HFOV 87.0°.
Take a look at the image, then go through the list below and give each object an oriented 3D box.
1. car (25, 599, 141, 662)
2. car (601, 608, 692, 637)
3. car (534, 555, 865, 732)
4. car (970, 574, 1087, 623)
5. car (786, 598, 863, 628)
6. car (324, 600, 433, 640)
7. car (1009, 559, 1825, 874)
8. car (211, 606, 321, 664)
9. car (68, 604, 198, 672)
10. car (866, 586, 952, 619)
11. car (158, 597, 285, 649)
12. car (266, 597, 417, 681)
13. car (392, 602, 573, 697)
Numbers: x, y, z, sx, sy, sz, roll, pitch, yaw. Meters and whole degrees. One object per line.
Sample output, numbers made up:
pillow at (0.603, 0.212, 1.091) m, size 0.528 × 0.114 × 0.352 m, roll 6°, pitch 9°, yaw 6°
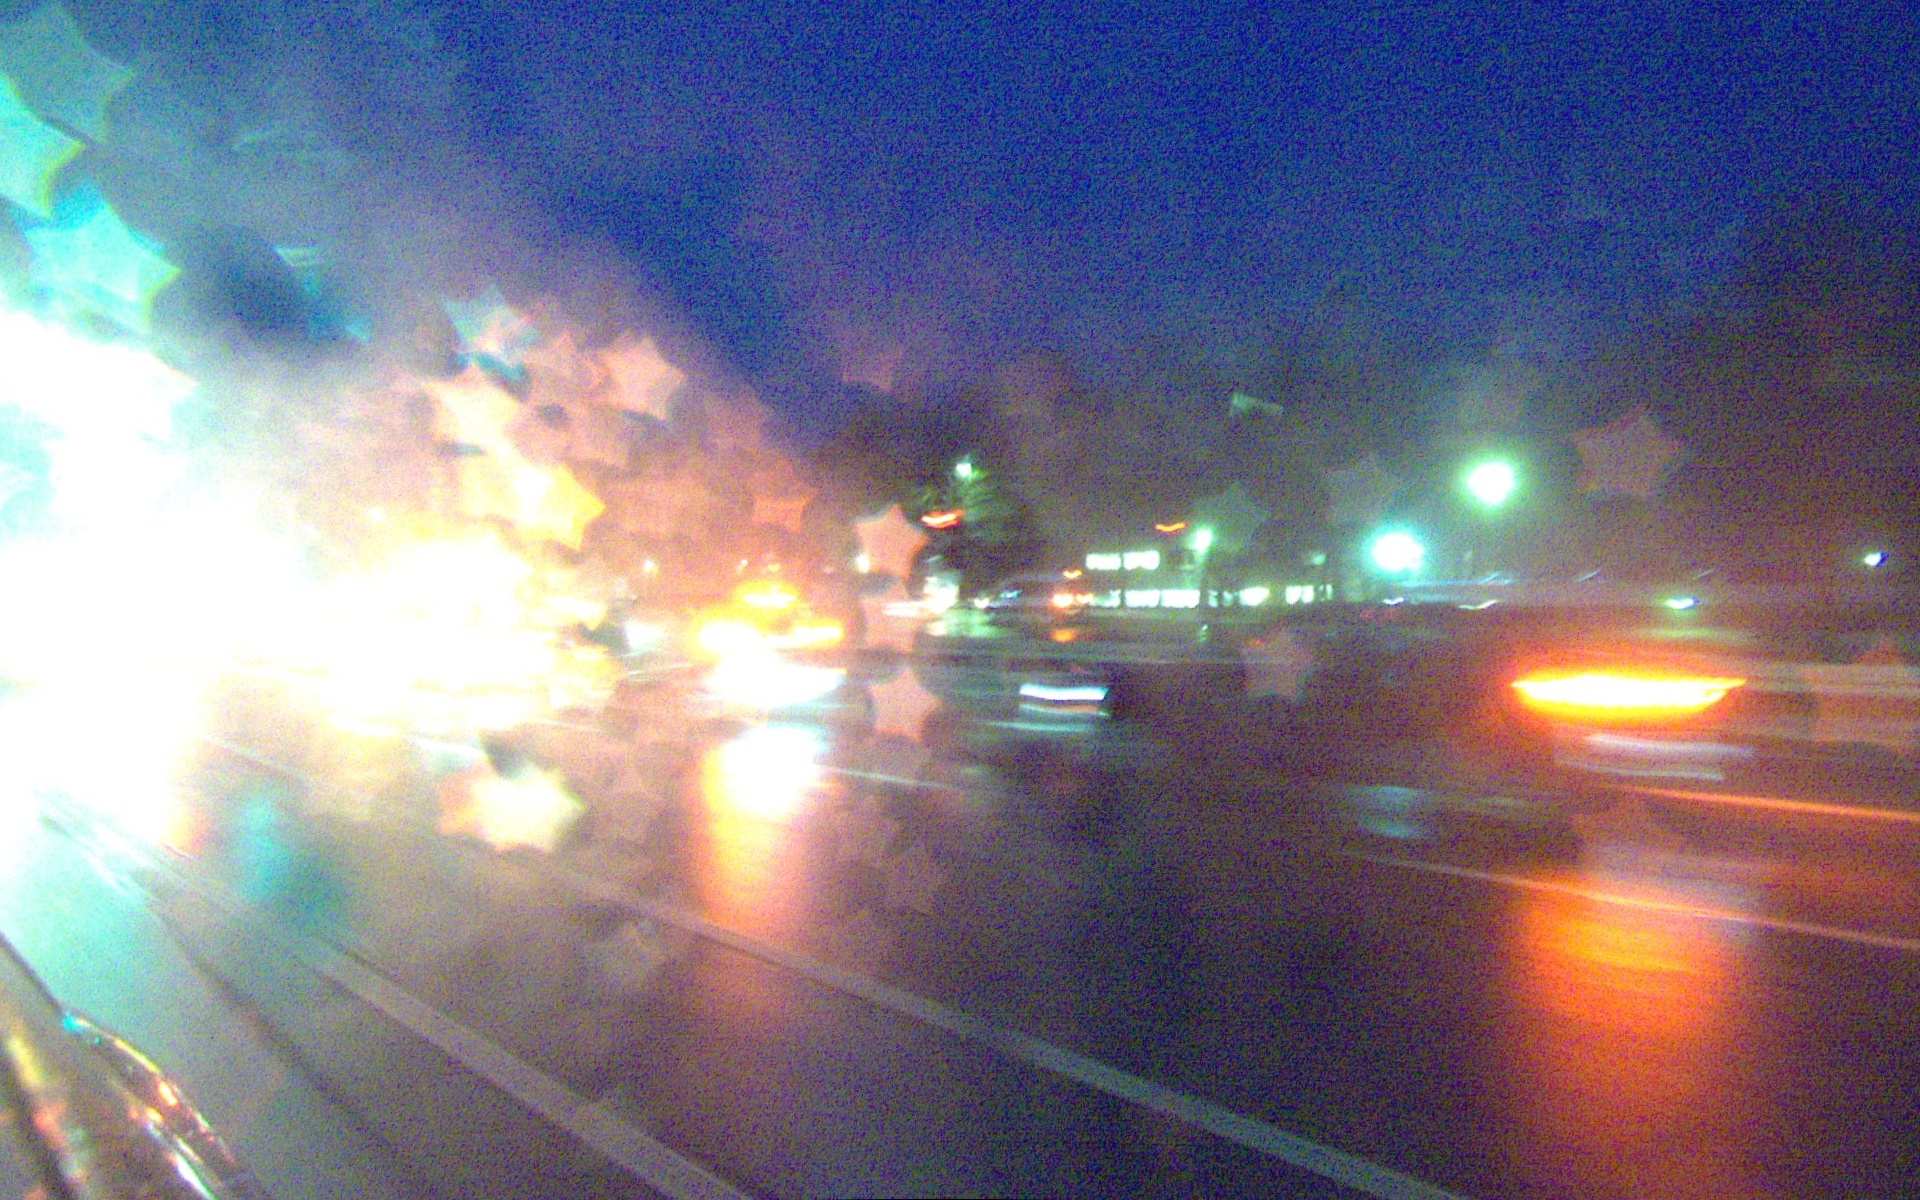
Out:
car at (-26.459, 0.846, 30.462) m, size 5.010 × 1.711 × 1.973 m, roll 0°, pitch 1°, yaw 41°
car at (-16.331, 1.164, 52.896) m, size 4.429 × 1.375 × 1.671 m, roll -1°, pitch 1°, yaw -13°
car at (-3.791, 0.507, 14.126) m, size 4.996 × 2.029 × 2.130 m, roll -1°, pitch 0°, yaw 43°
car at (3.378, -0.049, 51.254) m, size 6.022 × 2.325 × 1.972 m, roll -1°, pitch 0°, yaw 44°
car at (-7.767, 0.743, 58.120) m, size 3.960 × 1.603 × 1.992 m, roll -1°, pitch 0°, yaw 13°
car at (-27.894, 0.931, 48.632) m, size 4.447 × 1.858 × 2.006 m, roll 0°, pitch -1°, yaw -31°
car at (3.032, 0.603, 7.656) m, size 5.206 × 1.570 × 2.157 m, roll -1°, pitch 0°, yaw 45°
car at (-19.621, 0.932, 28.568) m, size 3.601 × 1.463 × 1.803 m, roll 0°, pitch 1°, yaw 43°
car at (-21.768, 0.921, 26.579) m, size 4.465 × 1.582 × 1.936 m, roll 0°, pitch 1°, yaw 41°
car at (-2.805, 0.136, 55.996) m, size 4.425 × 1.706 × 1.835 m, roll -1°, pitch 0°, yaw 27°
car at (-24.466, 0.726, 33.455) m, size 5.157 × 1.568 × 2.334 m, roll -1°, pitch 0°, yaw 42°
car at (-14.685, 0.850, 23.923) m, size 4.500 × 1.759 × 1.971 m, roll -1°, pitch 0°, yaw 44°
car at (-8.904, 0.837, 18.749) m, size 1.943 × 1.540 × 3.691 m, roll -1°, pitch 0°, yaw -44°
